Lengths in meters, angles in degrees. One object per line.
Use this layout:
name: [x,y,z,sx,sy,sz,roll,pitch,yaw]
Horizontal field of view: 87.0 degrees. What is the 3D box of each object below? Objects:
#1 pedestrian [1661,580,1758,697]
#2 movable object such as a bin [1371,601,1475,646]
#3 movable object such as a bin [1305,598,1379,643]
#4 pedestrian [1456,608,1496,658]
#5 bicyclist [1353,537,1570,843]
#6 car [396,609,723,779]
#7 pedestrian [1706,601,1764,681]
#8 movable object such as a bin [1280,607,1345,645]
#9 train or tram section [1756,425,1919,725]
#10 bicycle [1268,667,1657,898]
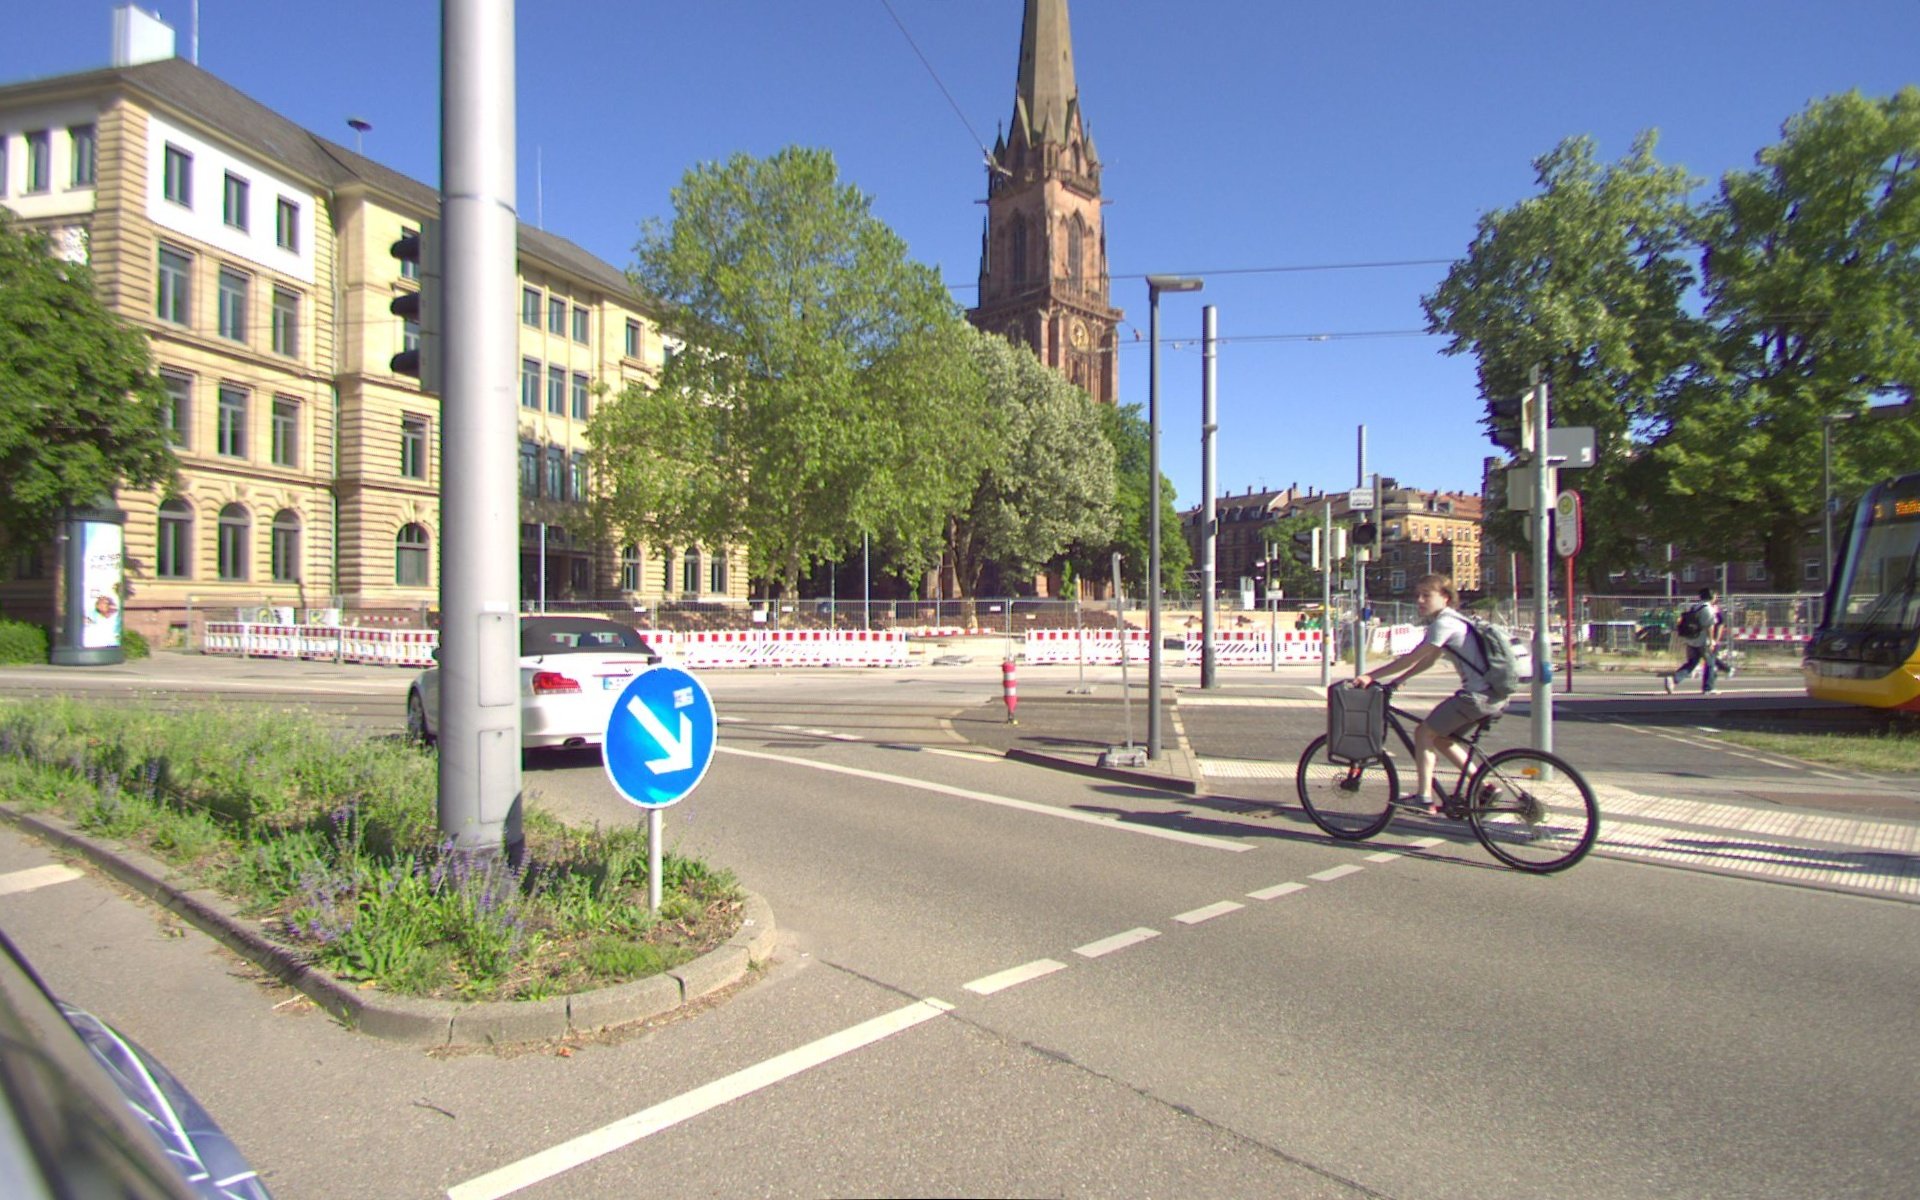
pedestrian: [12.288,0.631,16.619,1.009,1.846,0.758,1,-3,12]
movable object such as a bin: [30.662,1.498,67.212,1.864,2.779,6.098,0,1,-38]
movable object such as a bin: [28.852,1.493,76.379,5.165,3.196,3.124,0,1,-41]
pedestrian: [18.743,1.179,36.750,0.850,1.781,0.976,1,-1,-29]
bicyclist: [3.051,0.495,6.150,1.058,1.657,0.872,0,-1,36]
car: [-4.297,0.839,10.497,1.778,1.404,4.097,3,-3,-42]
pedestrian: [17.607,0.921,23.014,0.791,1.781,0.667,0,-1,10]
movable object such as a bin: [22.761,1.644,65.340,4.160,2.364,1.899,0,1,-36]
train or tram section: [16.471,-0.290,12.386,10.364,3.534,2.817,0,-1,10]
bicycle: [3.005,1.004,6.160,2.031,1.089,0.766,0,-1,36]
